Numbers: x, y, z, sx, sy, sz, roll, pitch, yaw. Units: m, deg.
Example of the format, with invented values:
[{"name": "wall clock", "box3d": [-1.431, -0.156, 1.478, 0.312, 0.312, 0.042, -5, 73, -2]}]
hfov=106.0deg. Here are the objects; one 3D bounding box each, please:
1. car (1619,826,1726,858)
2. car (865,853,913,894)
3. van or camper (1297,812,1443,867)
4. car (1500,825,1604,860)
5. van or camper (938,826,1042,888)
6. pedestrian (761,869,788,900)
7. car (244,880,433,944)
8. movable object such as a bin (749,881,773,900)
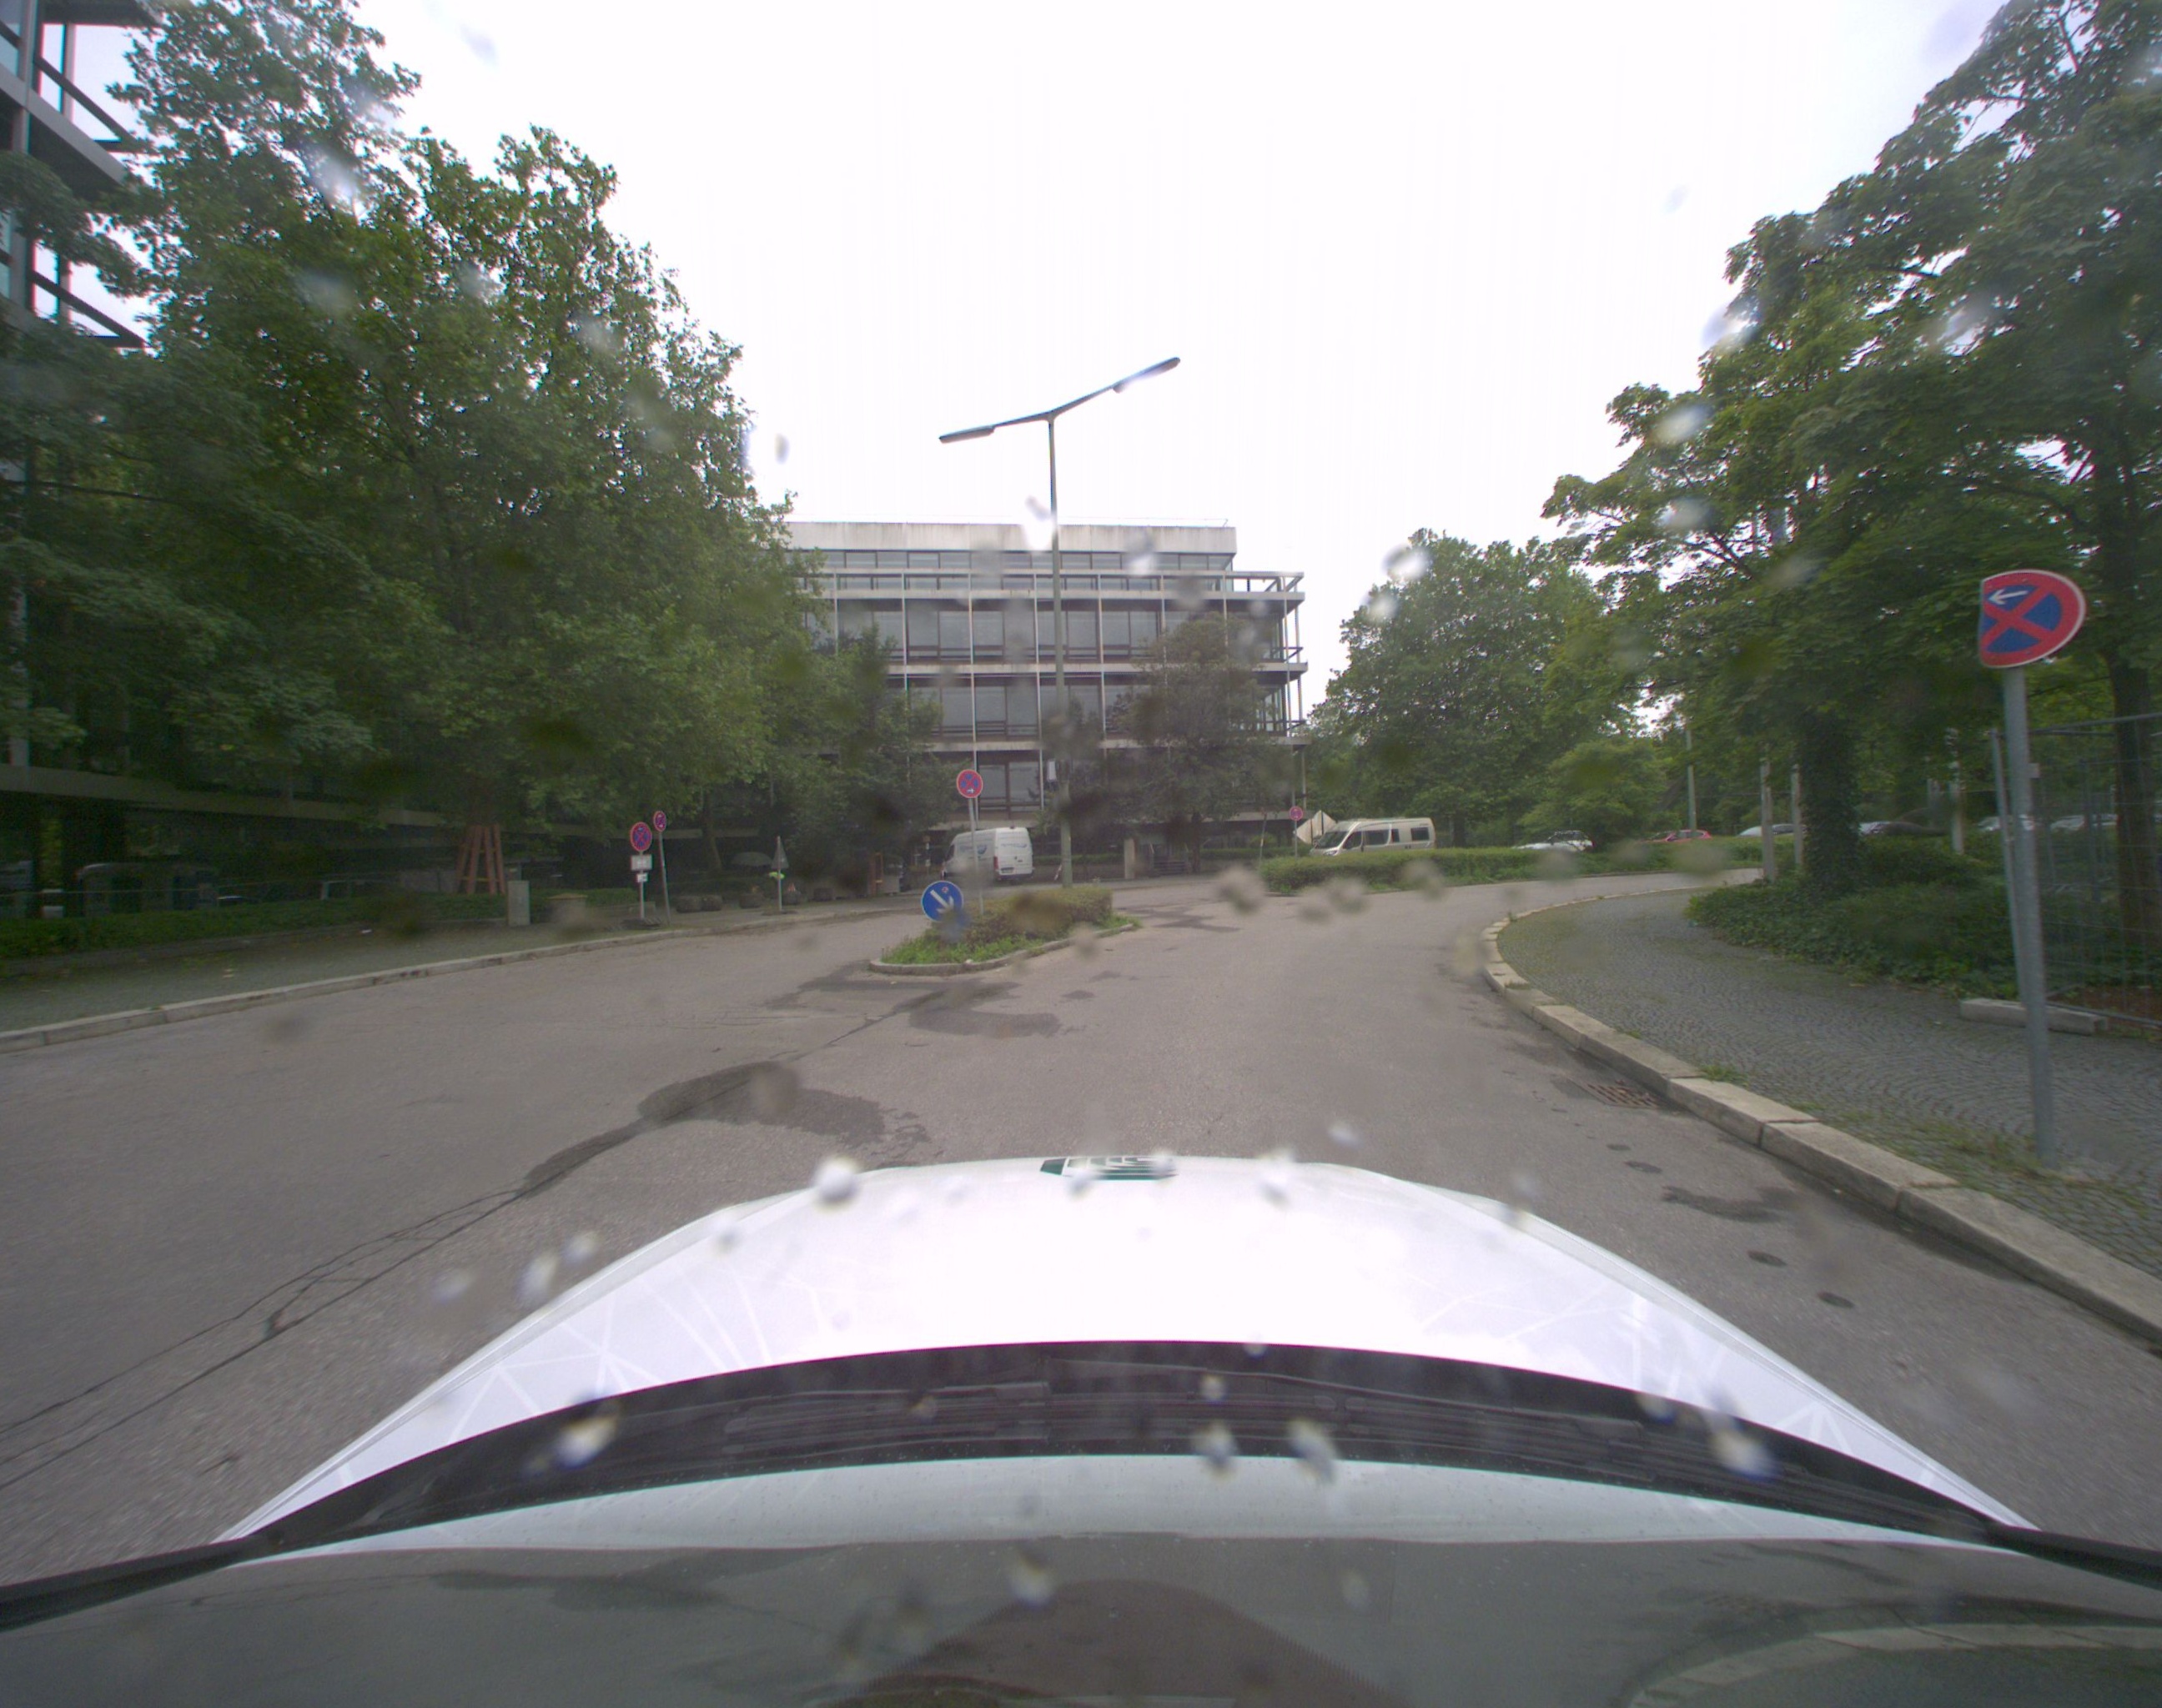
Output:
[{"name": "car", "box3d": [29.367, -0.588, 40.488, 3.981, 1.409, 1.996, -3, 0, -6]}, {"name": "car", "box3d": [-9.027, 0.884, 38.541, 1.942, 1.721, 4.223, -2, 0, -10]}, {"name": "van or camper", "box3d": [13.365, -0.687, 37.644, 6.421, 2.281, 2.239, -2, 0, -21]}, {"name": "car", "box3d": [23.046, -0.530, 39.910, 3.981, 1.508, 1.996, -3, 0, -6]}, {"name": "van or camper", "box3d": [-4.436, 0.240, 38.327, 2.171, 2.581, 6.471, -1, -2, -32]}, {"name": "pedestrian", "box3d": [-13.168, 1.301, 35.024, 0.924, 1.278, 0.541, -2, 0, -5]}, {"name": "car", "box3d": [-20.606, 1.545, 22.852, 1.904, 1.473, 3.853, -2, 0, -5]}, {"name": "movable object such as a bin", "box3d": [-13.718, 1.568, 34.913, 0.833, 0.753, 0.571, -2, 0, -5]}]
